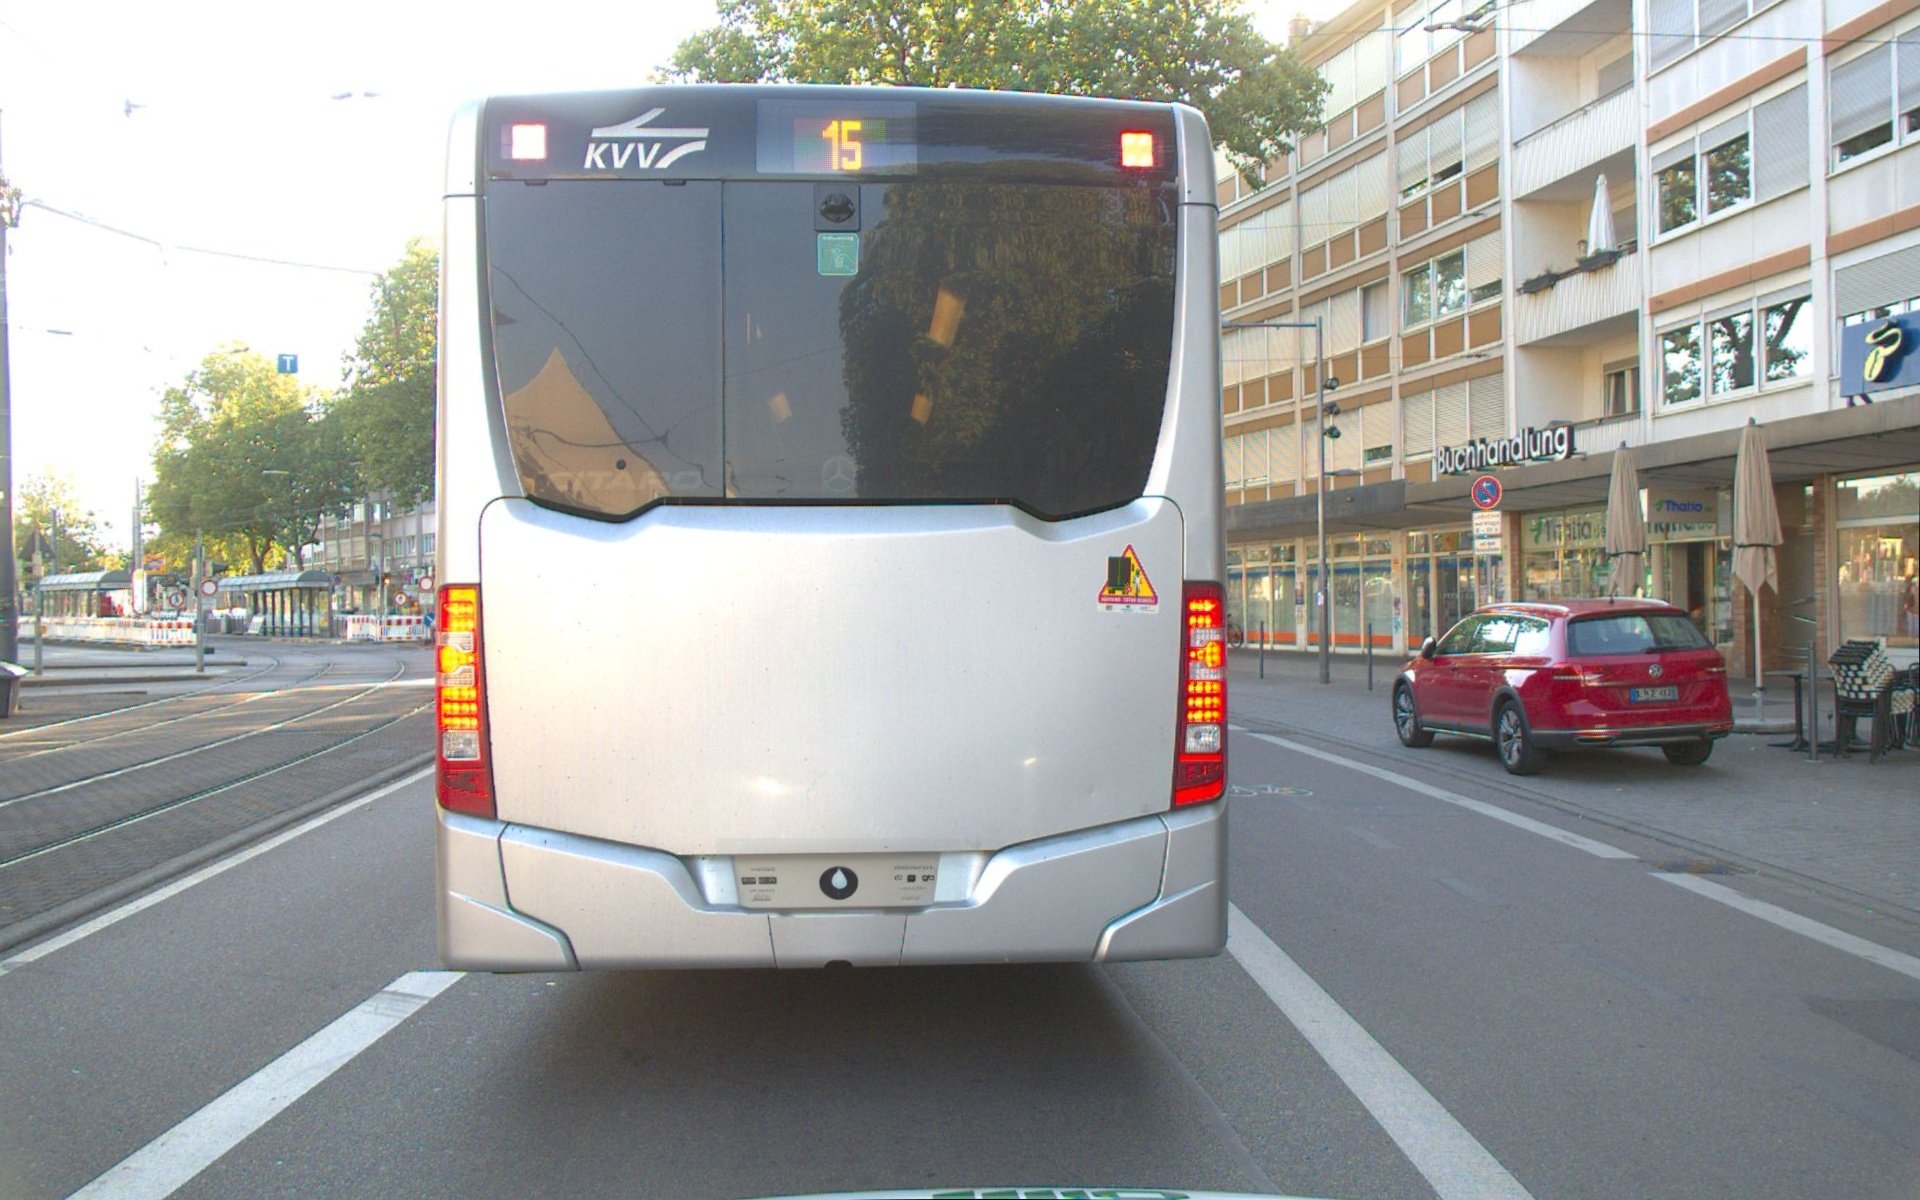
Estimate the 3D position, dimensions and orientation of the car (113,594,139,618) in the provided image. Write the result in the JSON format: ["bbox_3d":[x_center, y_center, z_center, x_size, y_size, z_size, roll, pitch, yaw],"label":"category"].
[{"bbox_3d":[-71.182,0.525,141.180,1.604,2.049,3.075,-1,0,-34],"label":"car"}]

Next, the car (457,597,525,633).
[{"bbox_3d":[-24.919,0.782,87.797,1.982,1.823,3.940,1,-1,-41],"label":"car"}]

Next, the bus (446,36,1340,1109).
[{"bbox_3d":[-0.389,-0.063,9.807,2.578,3.081,9.992,0,0,-3],"label":"bus"}]

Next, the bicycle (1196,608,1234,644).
[{"bbox_3d":[7.090,0.720,46.049,0.406,0.961,1.431,-1,0,-20],"label":"bicycle"}]

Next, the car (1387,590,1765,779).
[{"bbox_3d":[5.697,0.705,15.939,1.735,1.508,4.299,-2,0,-4],"label":"car"}]
